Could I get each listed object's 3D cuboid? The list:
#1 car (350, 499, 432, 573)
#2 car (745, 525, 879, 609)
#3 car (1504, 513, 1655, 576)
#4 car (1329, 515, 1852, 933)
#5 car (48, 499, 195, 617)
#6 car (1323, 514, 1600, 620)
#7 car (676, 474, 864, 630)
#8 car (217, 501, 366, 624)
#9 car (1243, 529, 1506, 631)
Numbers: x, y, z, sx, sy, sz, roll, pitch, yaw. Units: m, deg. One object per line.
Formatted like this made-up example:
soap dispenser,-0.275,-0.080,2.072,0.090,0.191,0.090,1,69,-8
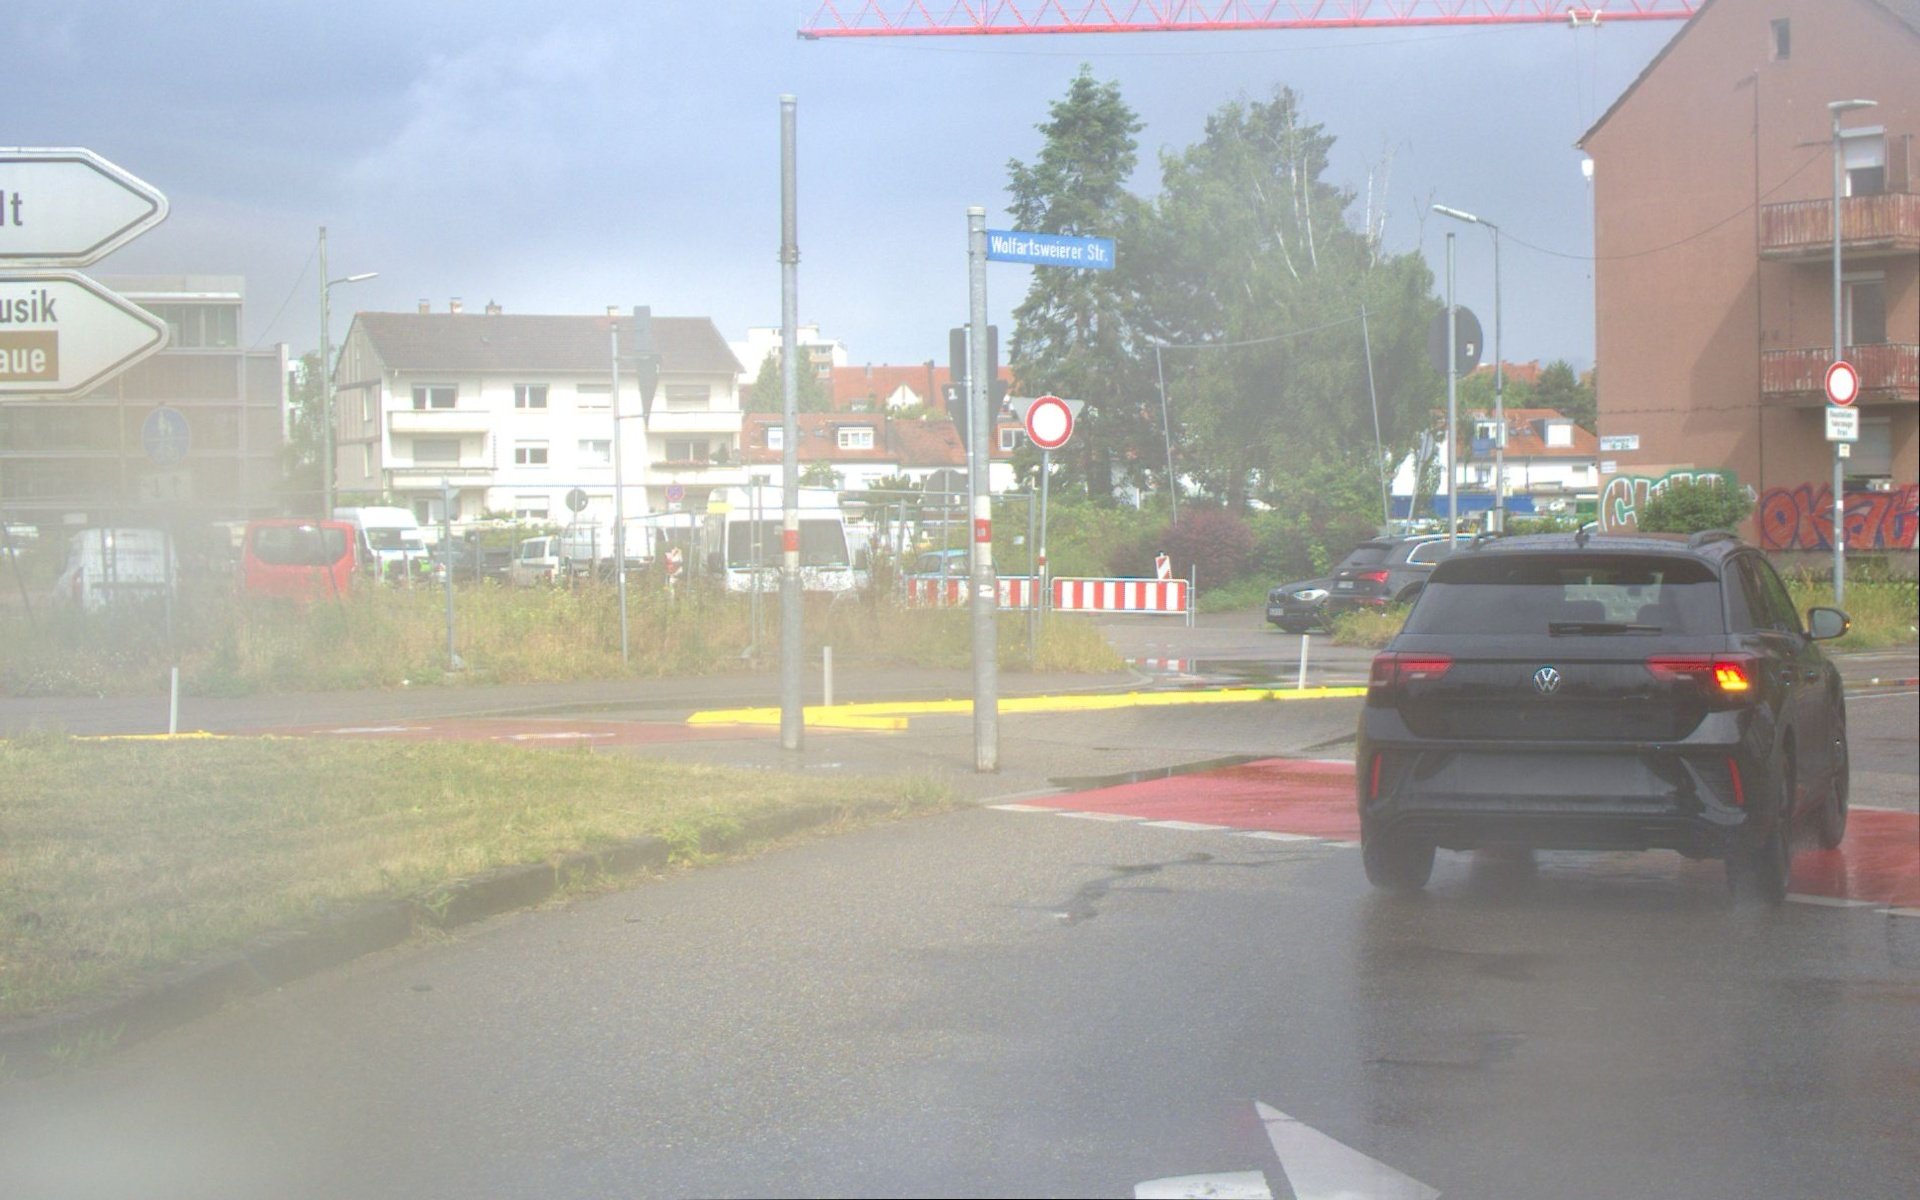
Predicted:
car,-17.450,-1.994,105.317,2.372,2.077,4.973,0,3,-10
car,-3.908,-0.884,90.284,1.993,2.116,4.001,-1,1,-27
car,15.131,-1.359,83.930,3.512,1.514,1.616,0,1,16
car,2.985,0.436,15.586,1.899,1.612,3.997,0,2,17
car,-13.441,-0.713,54.966,1.851,1.694,4.002,-1,3,-20
car,7.932,-0.537,54.495,4.044,1.627,1.617,-1,1,-7
car,-2.955,-0.798,51.987,2.036,2.077,6.269,0,3,-10
car,-10.317,-0.610,52.873,1.923,1.694,4.002,-1,3,-16
car,6.842,-0.341,56.963,4.044,1.627,1.617,-1,1,-7
